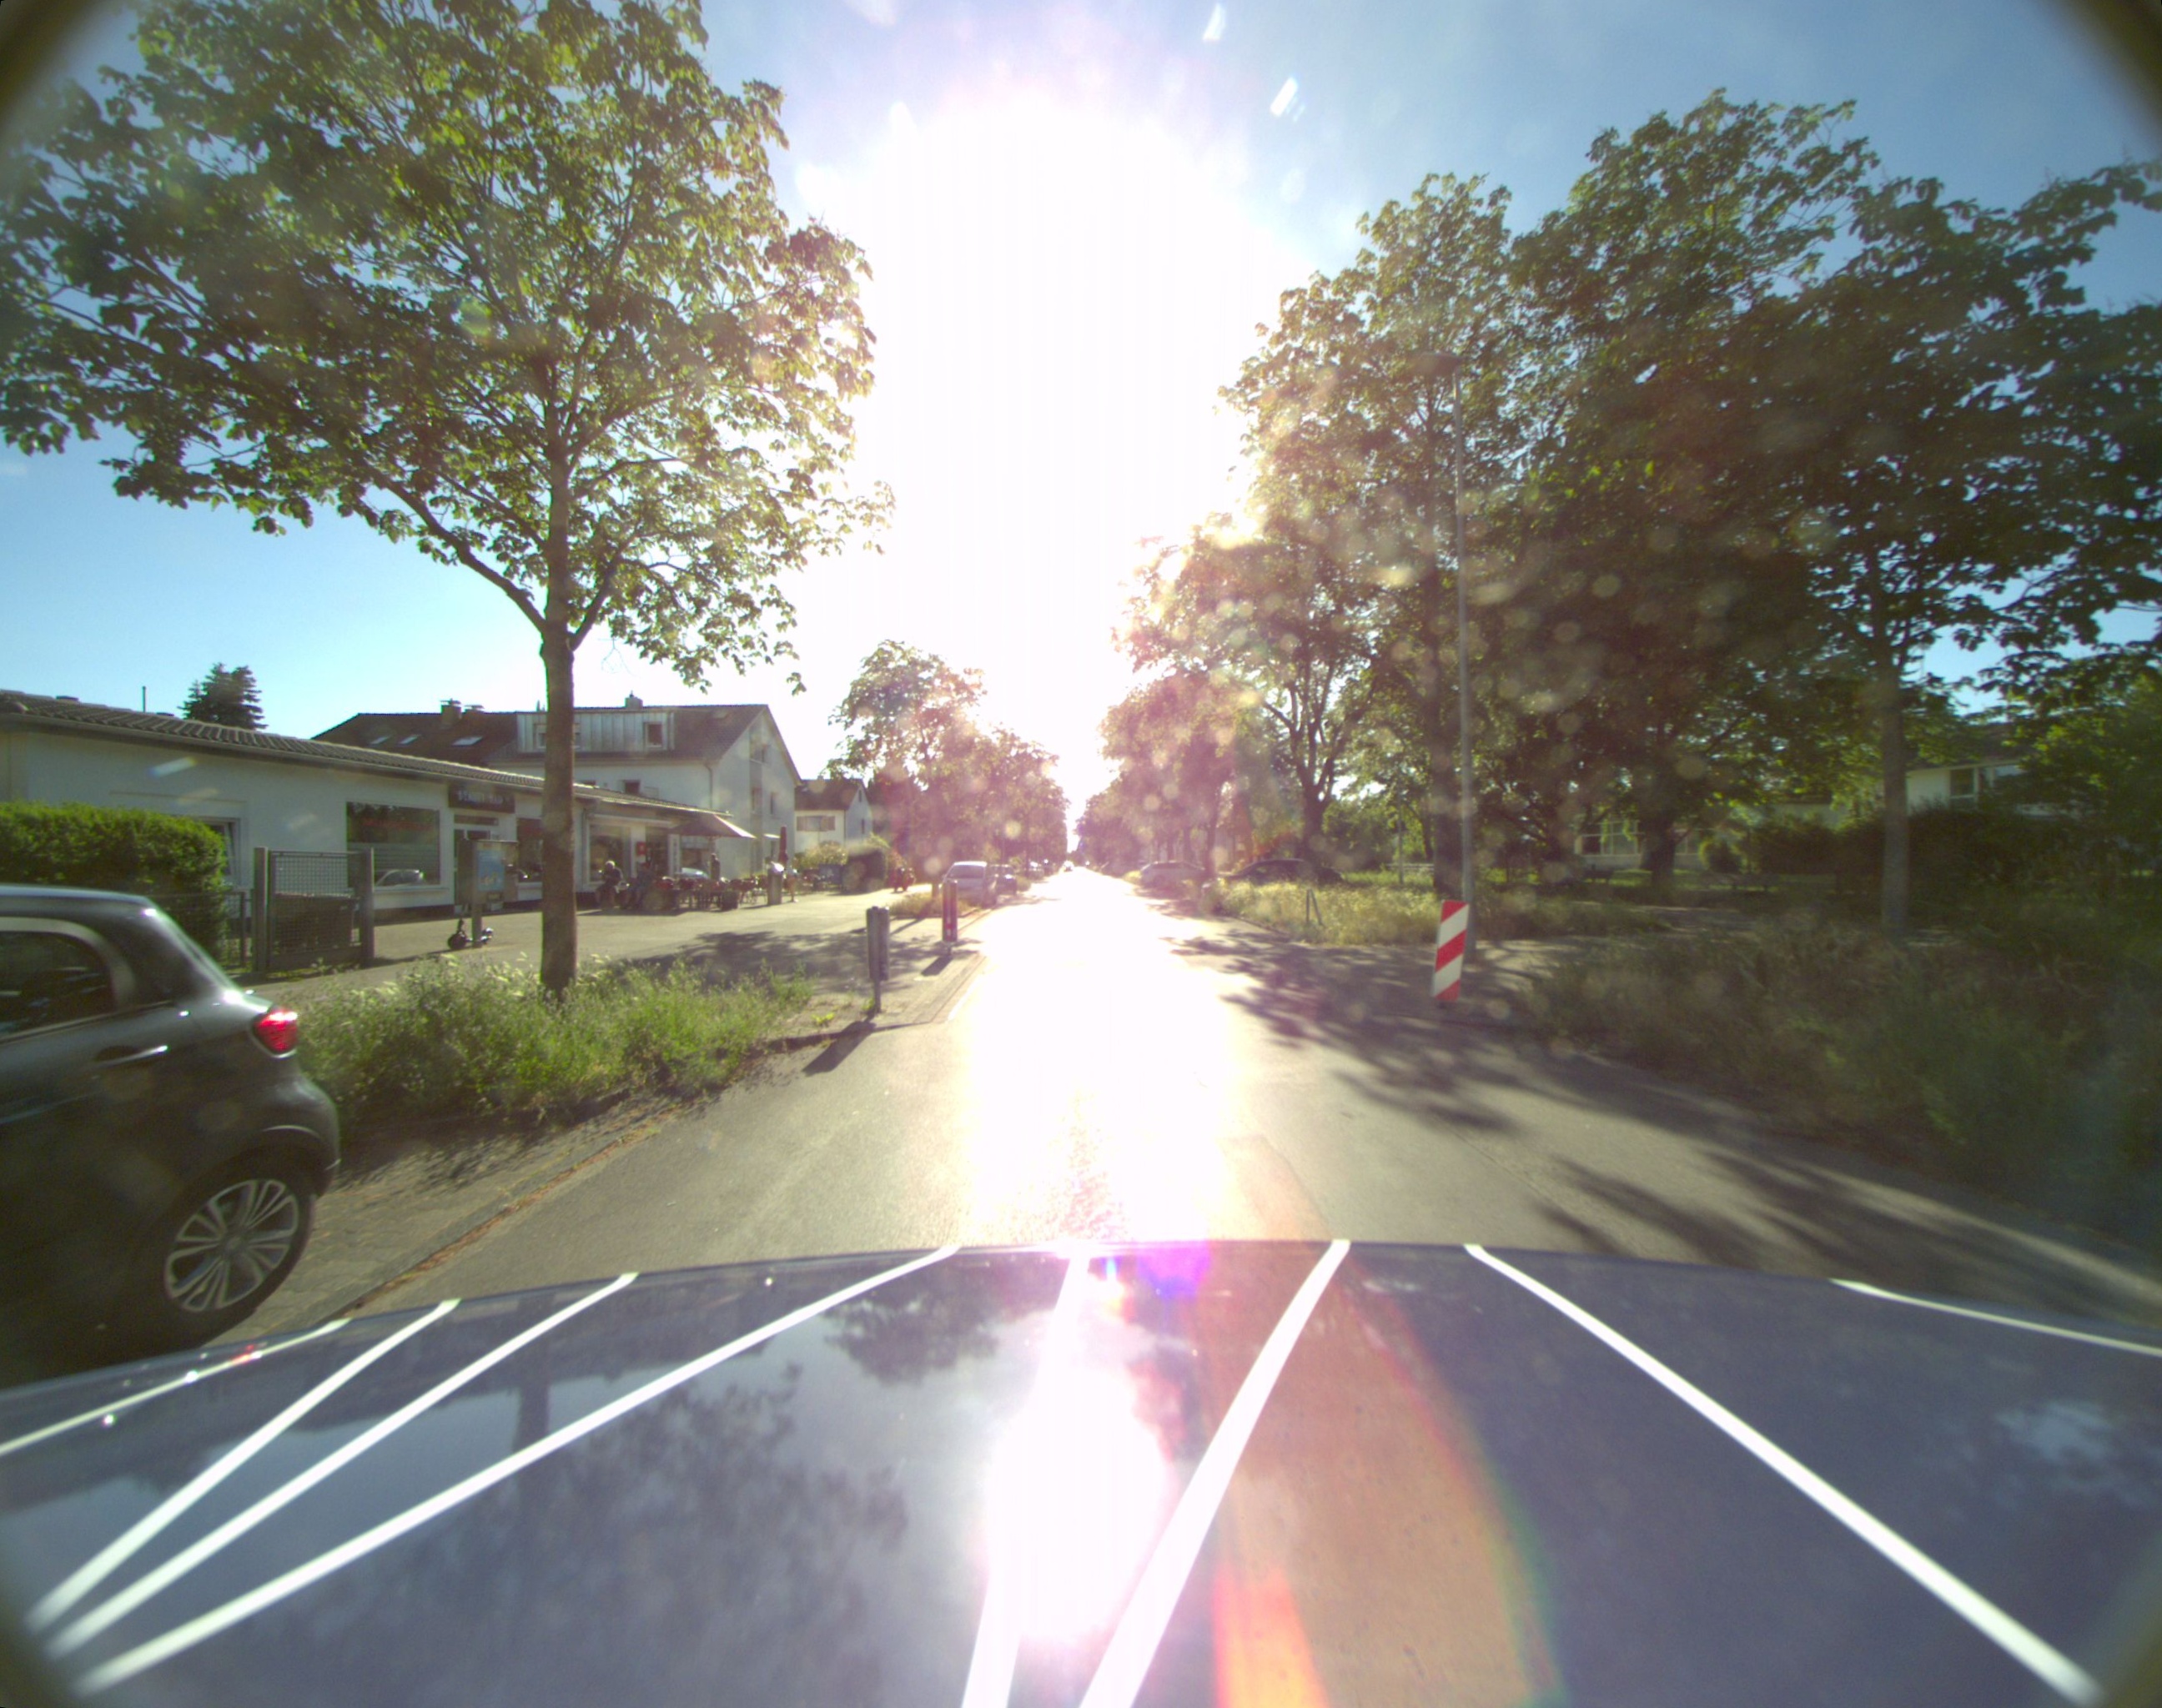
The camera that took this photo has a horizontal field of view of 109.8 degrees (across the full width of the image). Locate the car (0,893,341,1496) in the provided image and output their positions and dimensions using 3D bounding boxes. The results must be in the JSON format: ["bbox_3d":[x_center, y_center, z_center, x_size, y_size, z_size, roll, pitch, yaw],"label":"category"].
[{"bbox_3d":[-3.664,0.949,1.190,1.497,1.565,3.600,2,0,-1],"label":"car"}]

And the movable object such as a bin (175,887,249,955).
[{"bbox_3d":[-12.538,0.951,10.976,0.459,0.924,0.526,1,1,-2],"label":"movable object such as a bin"}]

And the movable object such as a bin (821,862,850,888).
[{"bbox_3d":[-12.433,1.040,38.449,1.172,1.286,0.928,0,1,-2],"label":"movable object such as a bin"}]

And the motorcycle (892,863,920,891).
[{"bbox_3d":[-8.600,1.103,37.424,0.838,1.247,2.344,-2,1,-1],"label":"motorcycle"}]

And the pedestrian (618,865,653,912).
[{"bbox_3d":[-13.098,1.004,22.335,0.641,1.314,0.574,3,1,0],"label":"pedestrian"}]

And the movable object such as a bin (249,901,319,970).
[{"bbox_3d":[-11.479,1.165,10.957,0.459,0.924,0.526,1,1,-2],"label":"movable object such as a bin"}]

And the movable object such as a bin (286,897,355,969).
[{"bbox_3d":[-10.971,1.129,10.971,0.459,0.970,0.526,1,1,-2],"label":"movable object such as a bin"}]

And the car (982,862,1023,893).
[{"bbox_3d":[-3.960,1.167,38.768,1.733,1.473,3.857,0,-1,-1],"label":"car"}]

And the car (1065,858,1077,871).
[{"bbox_3d":[-1.655,1.700,126.914,1.999,2.002,3.999,-2,1,0],"label":"car"}]

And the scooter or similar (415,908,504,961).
[{"bbox_3d":[-10.195,1.300,12.515,0.450,0.712,1.228,3,0,-1],"label":"scooter or similar"}]

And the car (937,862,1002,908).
[{"bbox_3d":[-4.111,1.088,28.491,1.732,1.568,3.858,0,0,2],"label":"car"}]

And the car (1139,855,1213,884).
[{"bbox_3d":[5.741,0.928,46.298,4.204,1.552,2.000,-2,0,0],"label":"car"}]

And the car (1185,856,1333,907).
[{"bbox_3d":[6.065,0.923,26.310,4.616,1.552,2.000,-2,0,0],"label":"car"}]

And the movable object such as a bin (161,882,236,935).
[{"bbox_3d":[-12.684,0.769,10.930,0.459,0.715,0.526,1,1,-2],"label":"movable object such as a bin"}]

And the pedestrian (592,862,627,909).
[{"bbox_3d":[-13.870,0.917,22.372,0.641,1.314,0.574,3,1,0],"label":"pedestrian"}]

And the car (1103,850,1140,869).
[{"bbox_3d":[5.844,0.794,109.119,5.122,2.597,2.125,-2,1,2],"label":"car"}]

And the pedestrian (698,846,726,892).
[{"bbox_3d":[-14.532,0.581,29.928,0.672,1.798,0.735,-2,1,0],"label":"pedestrian"}]

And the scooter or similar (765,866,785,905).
[{"bbox_3d":[-10.190,1.053,25.317,0.503,1.288,0.461,0,1,-4],"label":"scooter or similar"}]

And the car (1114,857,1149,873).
[{"bbox_3d":[6.132,1.339,92.605,3.997,1.740,1.890,-2,1,-2],"label":"car"}]
